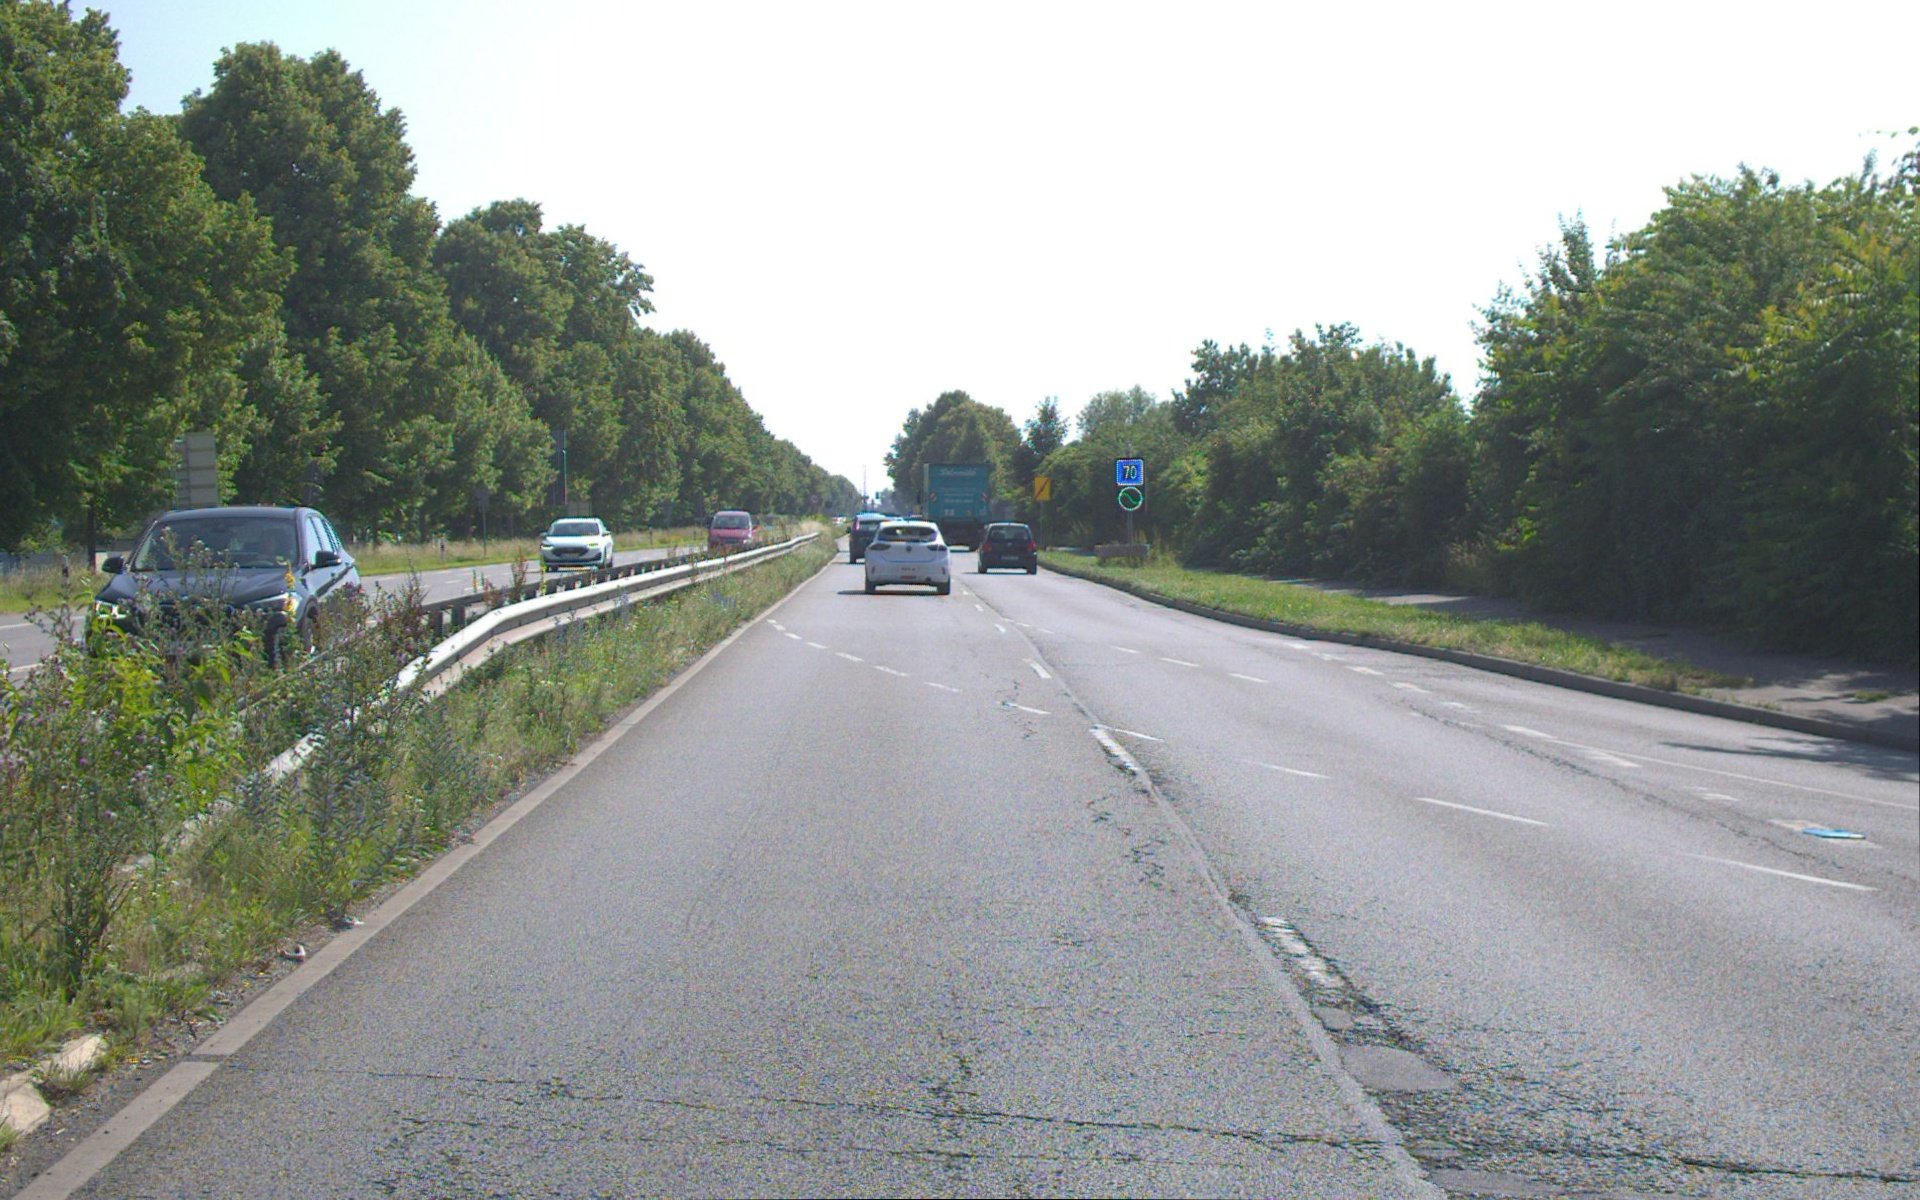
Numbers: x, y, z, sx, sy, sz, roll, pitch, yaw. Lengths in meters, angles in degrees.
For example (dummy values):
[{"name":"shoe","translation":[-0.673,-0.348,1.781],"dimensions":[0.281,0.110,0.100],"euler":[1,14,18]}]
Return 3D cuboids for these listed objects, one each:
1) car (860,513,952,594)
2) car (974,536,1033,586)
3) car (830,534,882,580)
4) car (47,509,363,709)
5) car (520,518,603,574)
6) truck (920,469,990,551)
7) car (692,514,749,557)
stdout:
[{"name":"car","translation":[-1.065,-0.959,69.427],"dimensions":[1.798,1.547,4.000],"euler":[0,2,0]},{"name":"car","translation":[1.222,-1.101,97.513],"dimensions":[1.572,1.409,3.278],"euler":[0,1,-1]},{"name":"car","translation":[-3.292,-1.378,109.392],"dimensions":[1.572,1.409,3.278],"euler":[-1,2,-1]},{"name":"car","translation":[-6.442,0.019,29.824],"dimensions":[1.846,1.589,4.618],"euler":[0,1,-2]},{"name":"car","translation":[-11.151,-1.530,96.496],"dimensions":[1.993,1.497,4.092],"euler":[-1,2,-2]},{"name":"truck","translation":[-0.265,-3.920,149.377],"dimensions":[2.891,3.417,9.170],"euler":[-1,2,-1]},{"name":"car","translation":[-8.670,-2.354,124.545],"dimensions":[1.912,1.497,4.092],"euler":[-1,2,-2]}]
